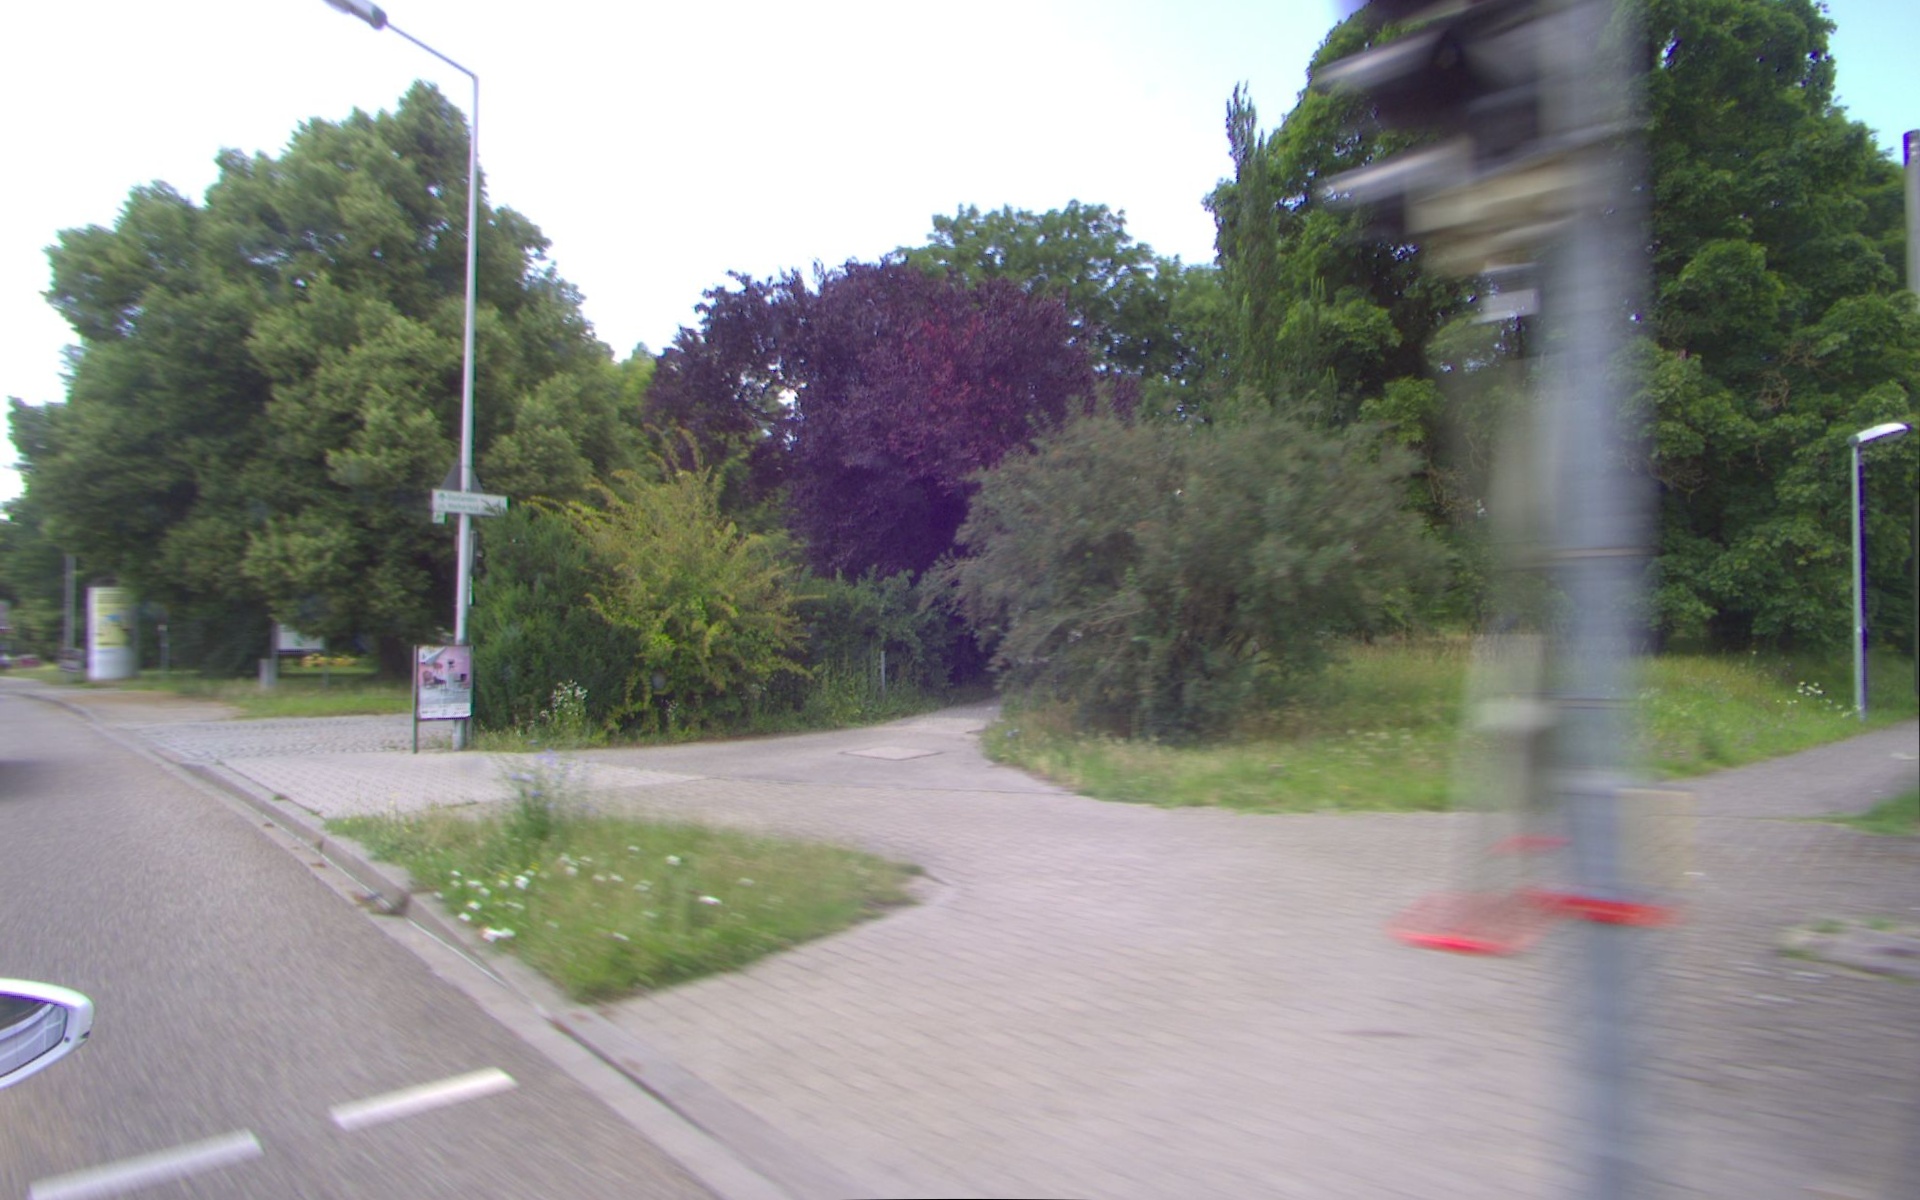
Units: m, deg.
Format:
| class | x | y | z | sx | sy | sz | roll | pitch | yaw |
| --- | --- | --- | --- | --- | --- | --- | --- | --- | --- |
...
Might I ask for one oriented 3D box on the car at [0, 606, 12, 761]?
| class | x | y | z | sx | sy | sz | roll | pitch | yaw |
| --- | --- | --- | --- | --- | --- | --- | --- | --- | --- |
| car | -10.587 | 0.866 | 9.557 | 1.967 | 1.705 | 4.535 | 3 | -3 | -41 |
